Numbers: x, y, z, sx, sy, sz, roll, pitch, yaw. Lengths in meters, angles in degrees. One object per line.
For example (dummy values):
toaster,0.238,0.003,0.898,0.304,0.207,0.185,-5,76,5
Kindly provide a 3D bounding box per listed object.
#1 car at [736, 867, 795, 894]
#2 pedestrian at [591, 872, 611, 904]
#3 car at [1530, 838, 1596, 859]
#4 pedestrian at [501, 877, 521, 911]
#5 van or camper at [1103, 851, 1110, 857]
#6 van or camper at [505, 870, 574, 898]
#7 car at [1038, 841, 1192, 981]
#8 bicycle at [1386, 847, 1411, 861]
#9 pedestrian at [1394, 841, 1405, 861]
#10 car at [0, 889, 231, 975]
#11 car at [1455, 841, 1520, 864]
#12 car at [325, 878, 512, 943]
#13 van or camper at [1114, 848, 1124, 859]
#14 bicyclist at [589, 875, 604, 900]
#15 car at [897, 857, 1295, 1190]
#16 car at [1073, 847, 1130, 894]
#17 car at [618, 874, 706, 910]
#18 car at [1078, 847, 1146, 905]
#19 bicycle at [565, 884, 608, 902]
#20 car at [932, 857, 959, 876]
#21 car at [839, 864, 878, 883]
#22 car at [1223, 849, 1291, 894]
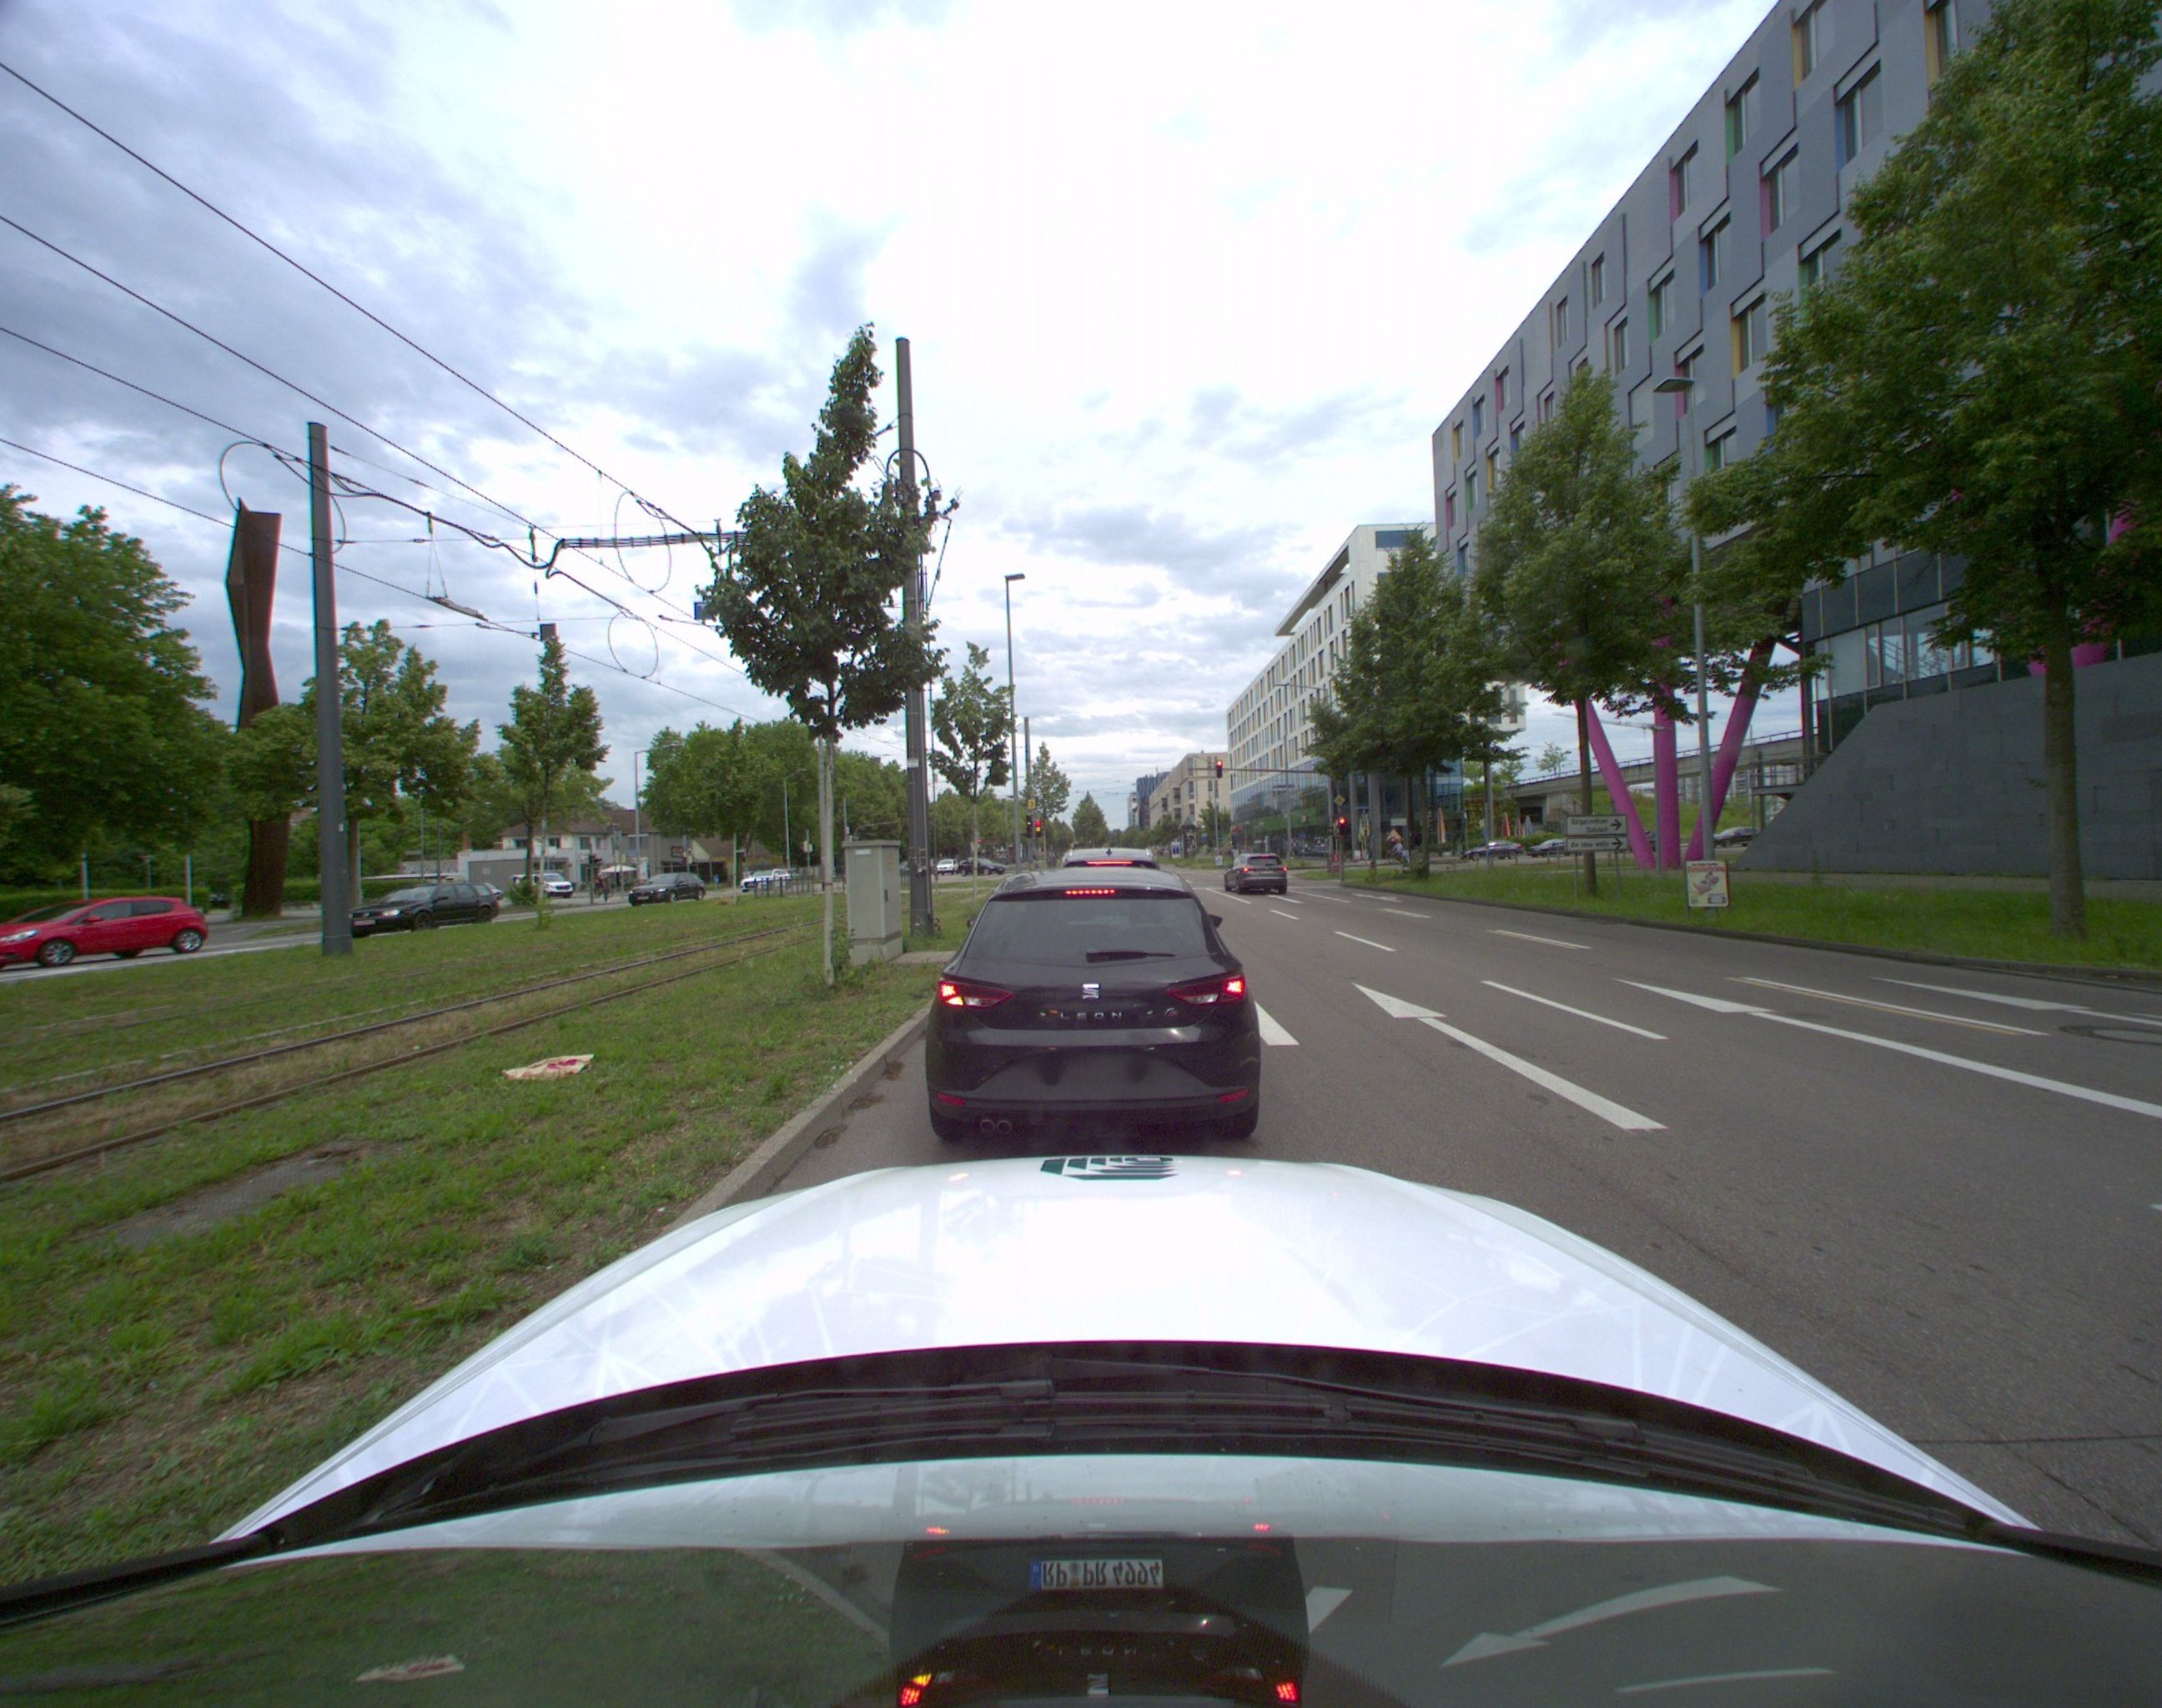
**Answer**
car,-21.403,1.786,55.452,1.804,1.588,5.080,-2,0,2
pedestrian,-27.847,1.969,47.258,0.779,1.832,0.771,-2,0,-16
car,37.859,-0.420,64.036,4.063,1.455,1.759,-2,0,3
pedestrian,-34.922,2.453,49.887,0.910,2.013,0.942,-2,0,-40
van or camper,7.109,-0.080,225.316,1.986,1.615,4.792,-1,1,2
van or camper,-41.539,2.309,62.450,5.212,2.013,2.481,-2,0,34
car,0.472,0.684,11.811,1.796,1.624,4.002,-2,0,2
bicycle,25.677,0.022,65.843,1.784,1.085,0.618,-2,0,3
pedestrian,25.730,-0.244,65.840,0.612,1.604,0.619,-2,0,4
car,-23.139,1.741,19.044,1.789,1.570,4.331,-2,0,3
car,31.843,-0.122,63.859,4.233,1.615,1.759,-2,0,3
car,-18.684,1.512,23.311,1.660,1.426,4.738,-4,0,-4
van or camper,8.453,-0.088,182.781,2.101,2.355,4.927,-1,2,2
bicyclist,-35.231,2.434,59.242,0.854,1.721,0.715,-2,0,-25
car,0.103,0.753,5.589,1.737,1.417,4.001,-1,0,1
car,0.847,0.578,31.263,1.985,1.682,4.005,-1,0,4
car,-18.954,1.678,37.047,1.795,1.377,4.058,-2,0,1
car,1.076,0.637,26.192,1.984,1.682,4.005,-1,0,5
bicycle,-35.786,2.810,58.985,2.520,1.202,0.734,-2,0,-25
car,-13.922,1.273,83.747,1.987,1.750,4.201,-2,0,1
car,-17.844,1.542,65.400,1.805,1.377,4.270,-2,0,1
car,6.547,0.610,30.720,1.741,1.499,4.271,-2,1,2
